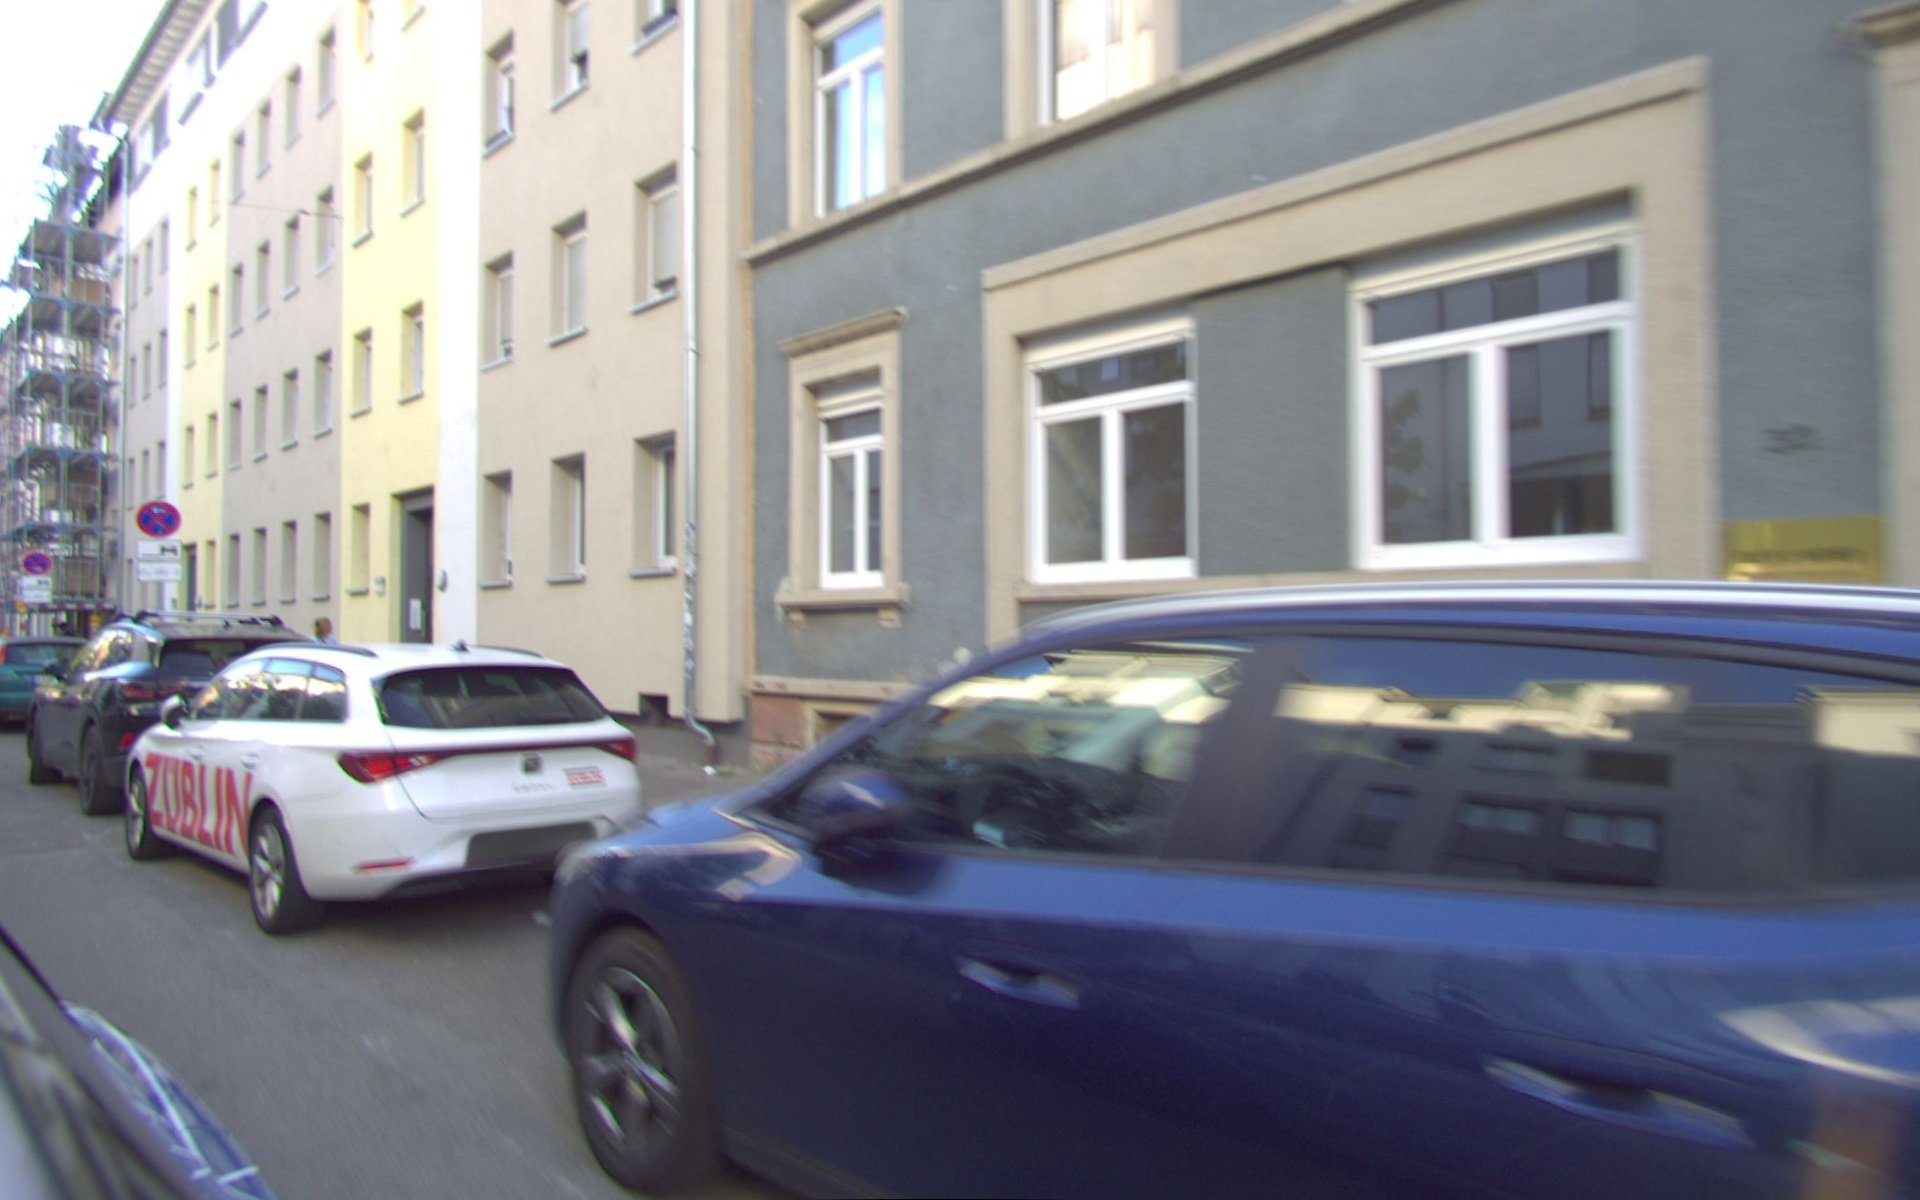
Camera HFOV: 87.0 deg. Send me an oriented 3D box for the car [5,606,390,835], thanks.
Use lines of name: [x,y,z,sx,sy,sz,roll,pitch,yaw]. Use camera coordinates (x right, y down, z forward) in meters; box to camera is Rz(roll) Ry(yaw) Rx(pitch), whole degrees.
car: [-7.360,1.016,9.604,4.465,1.676,1.901,-3,-5,40]

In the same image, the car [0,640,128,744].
car: [-15.152,1.413,16.435,4.418,1.500,1.760,-2,-4,41]

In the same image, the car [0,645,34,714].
car: [-22.892,1.767,23.098,4.612,1.500,1.903,-2,-4,39]

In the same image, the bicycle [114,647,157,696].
bicycle: [-20.681,1.775,25.374,1.730,1.177,0.473,-2,0,39]

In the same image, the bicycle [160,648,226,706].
bicycle: [-16.201,1.608,21.356,1.922,1.177,0.604,-2,-4,39]

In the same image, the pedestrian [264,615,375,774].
pedestrian: [-7.684,1.104,12.136,1.091,1.804,0.780,-2,-4,41]

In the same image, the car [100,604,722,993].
car: [-3.567,0.933,6.246,4.263,1.572,1.901,-3,-5,40]

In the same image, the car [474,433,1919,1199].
car: [0.783,0.704,2.441,4.263,1.572,1.901,-3,-5,40]

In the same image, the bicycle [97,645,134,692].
bicycle: [-22.665,1.823,27.154,1.814,1.177,0.400,-2,0,39]

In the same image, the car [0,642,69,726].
car: [-18.905,1.558,19.511,4.614,1.500,1.903,-2,-4,40]

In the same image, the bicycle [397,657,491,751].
bicycle: [-6.576,1.284,12.855,1.751,1.082,0.446,-2,-2,41]

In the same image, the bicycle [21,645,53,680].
bicycle: [-33.093,2.222,36.291,0.483,1.177,1.687,-2,0,-31]

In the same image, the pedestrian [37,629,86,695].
pedestrian: [-24.570,1.683,27.675,1.091,1.774,0.780,-2,-4,41]
